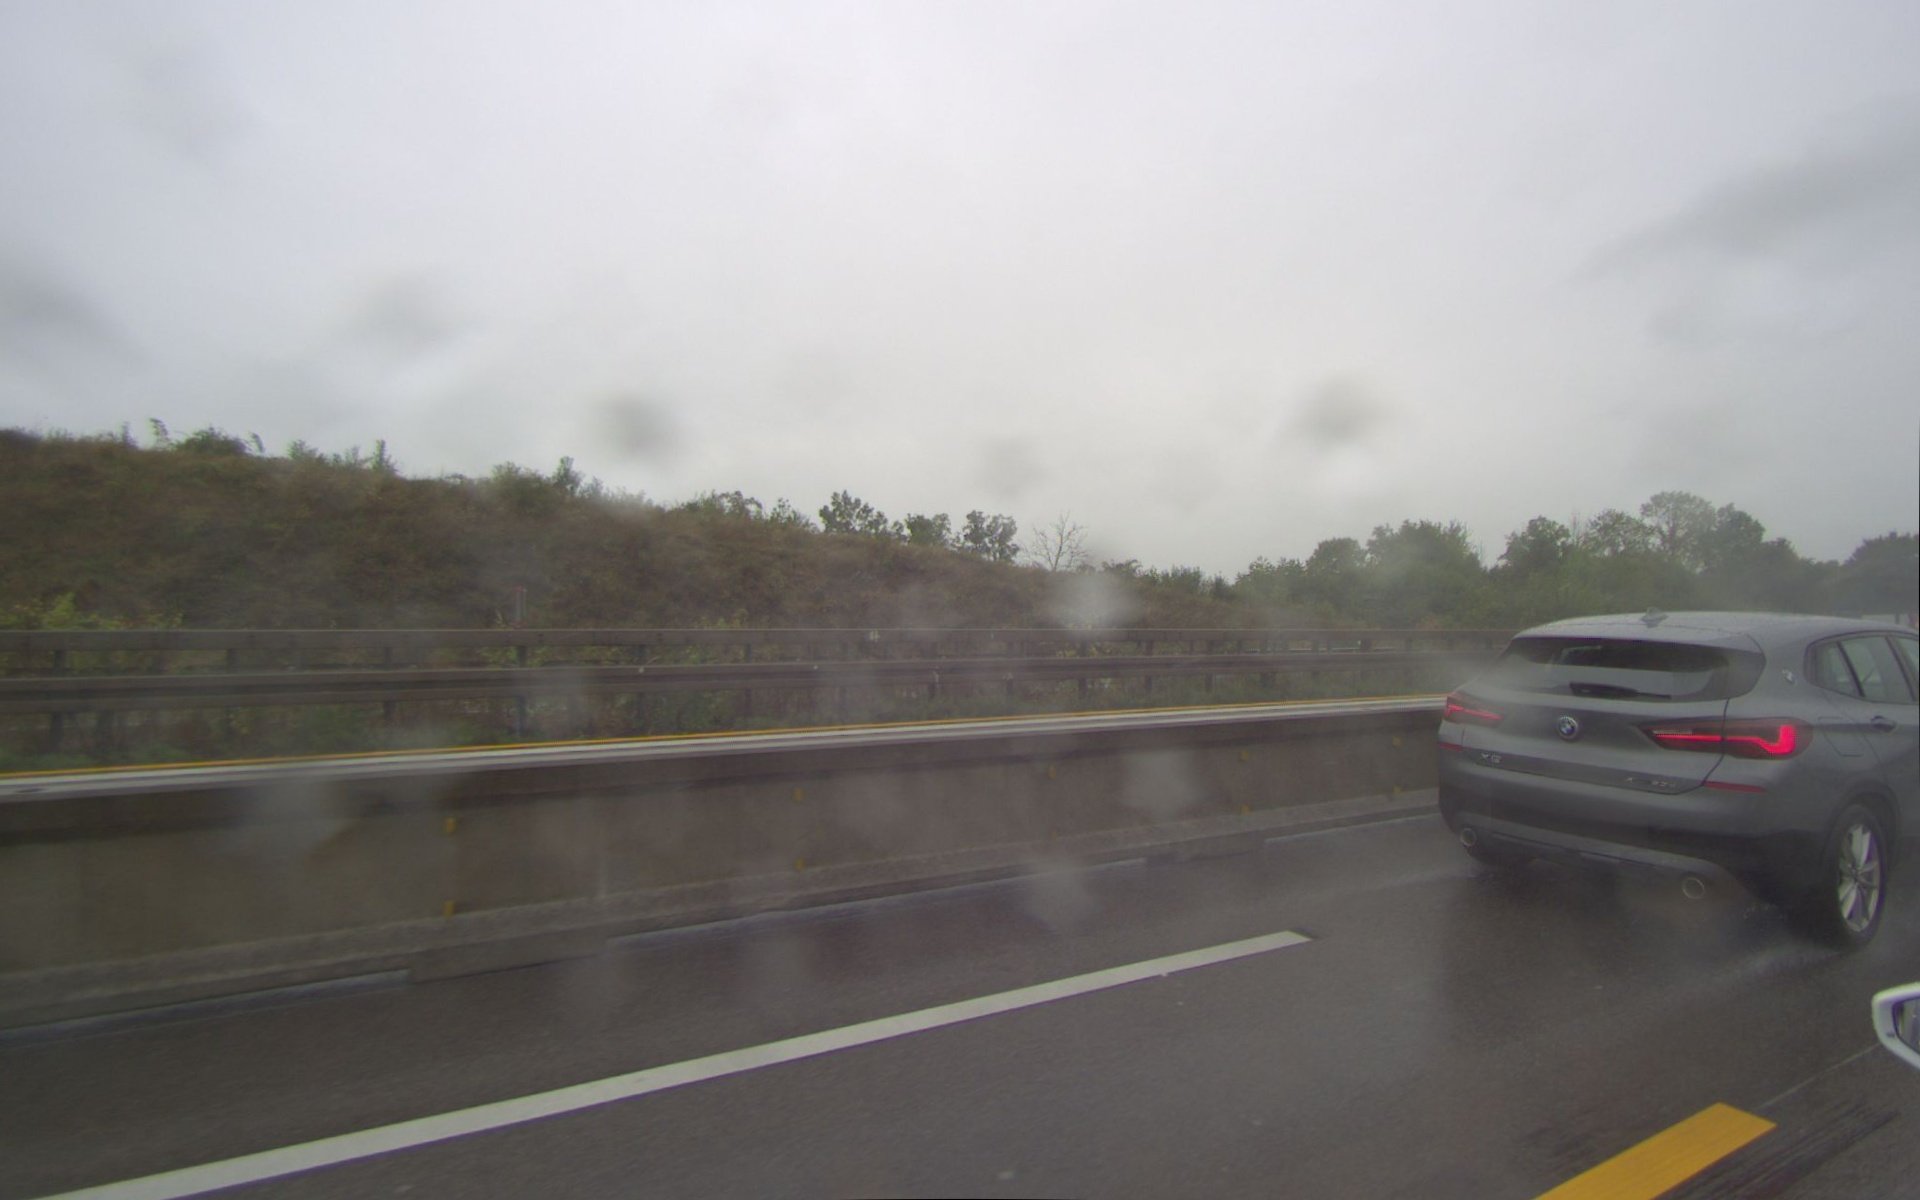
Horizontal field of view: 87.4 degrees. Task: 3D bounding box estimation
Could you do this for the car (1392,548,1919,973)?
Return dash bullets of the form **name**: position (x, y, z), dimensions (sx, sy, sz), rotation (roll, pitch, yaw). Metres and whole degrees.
- **car**: position (4.762, 0.700, 5.807), dimensions (4.789, 1.619, 1.693), rotation (2, -2, -31)
